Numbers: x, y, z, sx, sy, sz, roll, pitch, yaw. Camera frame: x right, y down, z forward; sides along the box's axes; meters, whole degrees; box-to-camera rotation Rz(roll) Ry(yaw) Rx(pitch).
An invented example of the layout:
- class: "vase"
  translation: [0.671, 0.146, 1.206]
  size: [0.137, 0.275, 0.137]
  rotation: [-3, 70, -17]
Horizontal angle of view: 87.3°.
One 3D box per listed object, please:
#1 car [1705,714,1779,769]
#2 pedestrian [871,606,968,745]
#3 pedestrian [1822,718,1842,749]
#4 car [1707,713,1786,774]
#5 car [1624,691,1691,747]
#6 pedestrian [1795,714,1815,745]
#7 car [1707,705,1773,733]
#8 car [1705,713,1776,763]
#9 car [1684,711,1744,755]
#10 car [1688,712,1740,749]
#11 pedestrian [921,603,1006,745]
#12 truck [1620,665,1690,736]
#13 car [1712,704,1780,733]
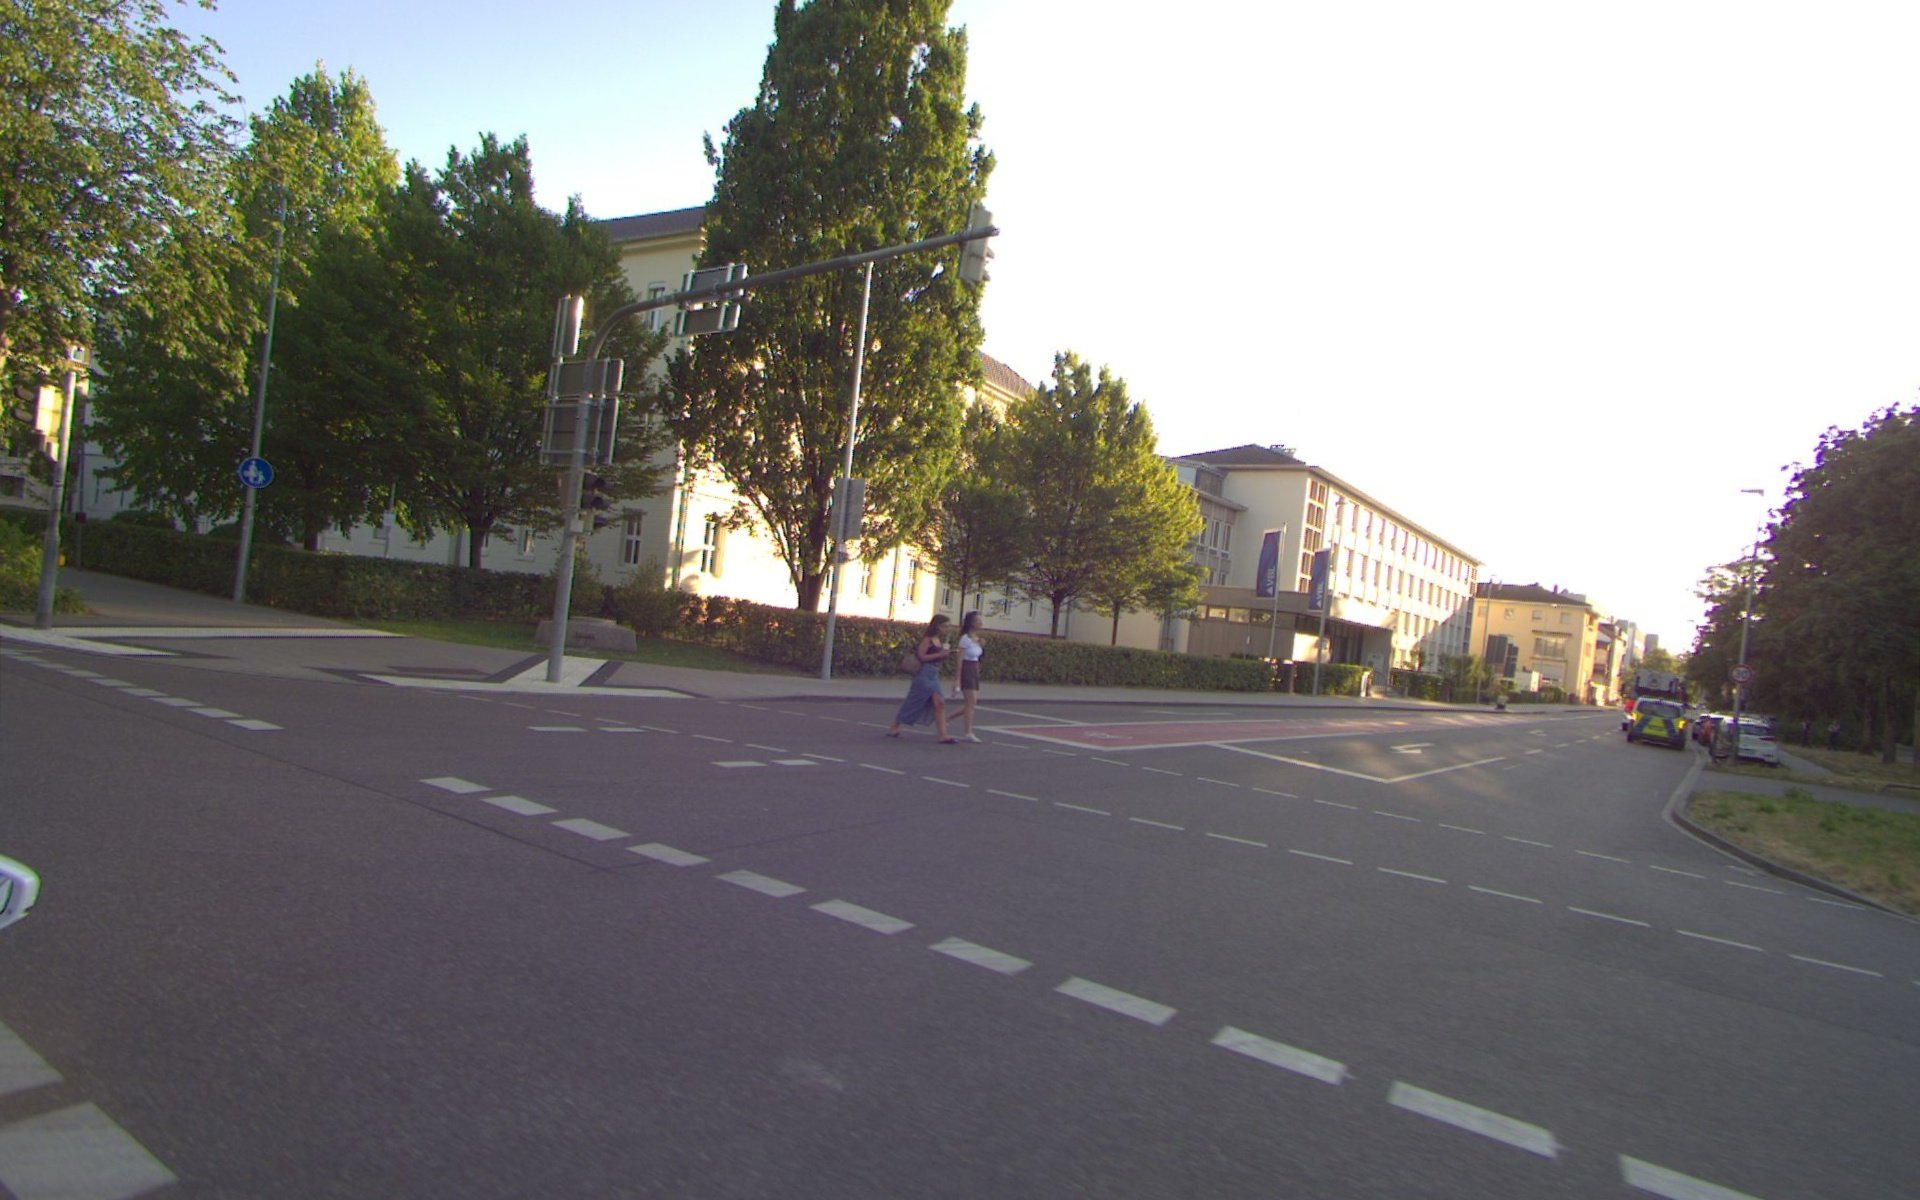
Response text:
- class: "car"
  translation: [29.346, 5.257, 37.816]
  size: [1.970, 1.631, 3.986]
  rotation: [6, -1, 38]
- class: "pedestrian"
  translation: [-0.516, 0.959, 12.934]
  size: [0.831, 1.642, 0.681]
  rotation: [7, 1, 32]
- class: "pedestrian"
  translation: [48.626, 7.452, 56.114]
  size: [0.679, 1.642, 0.679]
  rotation: [7, 0, 44]
- class: "car"
  translation: [26.633, 4.795, 34.099]
  size: [1.873, 1.659, 3.985]
  rotation: [6, -1, 39]
- class: "car"
  translation: [29.019, 4.998, 41.897]
  size: [2.024, 1.883, 4.488]
  rotation: [6, -3, 35]
- class: "pedestrian"
  translation: [47.589, 7.307, 56.683]
  size: [0.679, 1.642, 0.679]
  rotation: [7, 0, 44]
- class: "car"
  translation: [60.177, 9.171, 77.680]
  size: [3.749, 1.801, 1.931]
  rotation: [2, -5, 32]
- class: "car"
  translation: [32.316, 5.684, 41.746]
  size: [1.969, 1.659, 3.988]
  rotation: [6, -1, 35]
- class: "car"
  translation: [34.885, 6.106, 46.644]
  size: [1.969, 1.659, 3.988]
  rotation: [6, -1, 35]
- class: "car"
  translation: [40.988, 7.058, 54.744]
  size: [1.969, 1.659, 3.988]
  rotation: [6, -1, 35]
- class: "pedestrian"
  translation: [0.052, 0.977, 13.447]
  size: [0.677, 1.776, 0.681]
  rotation: [7, 1, 32]
- class: "truck"
  translation: [37.261, 5.397, 53.952]
  size: [2.600, 3.177, 10.247]
  rotation: [6, -2, 35]
- class: "car"
  translation: [58.811, 8.870, 75.379]
  size: [3.749, 1.801, 1.931]
  rotation: [2, -5, 32]
